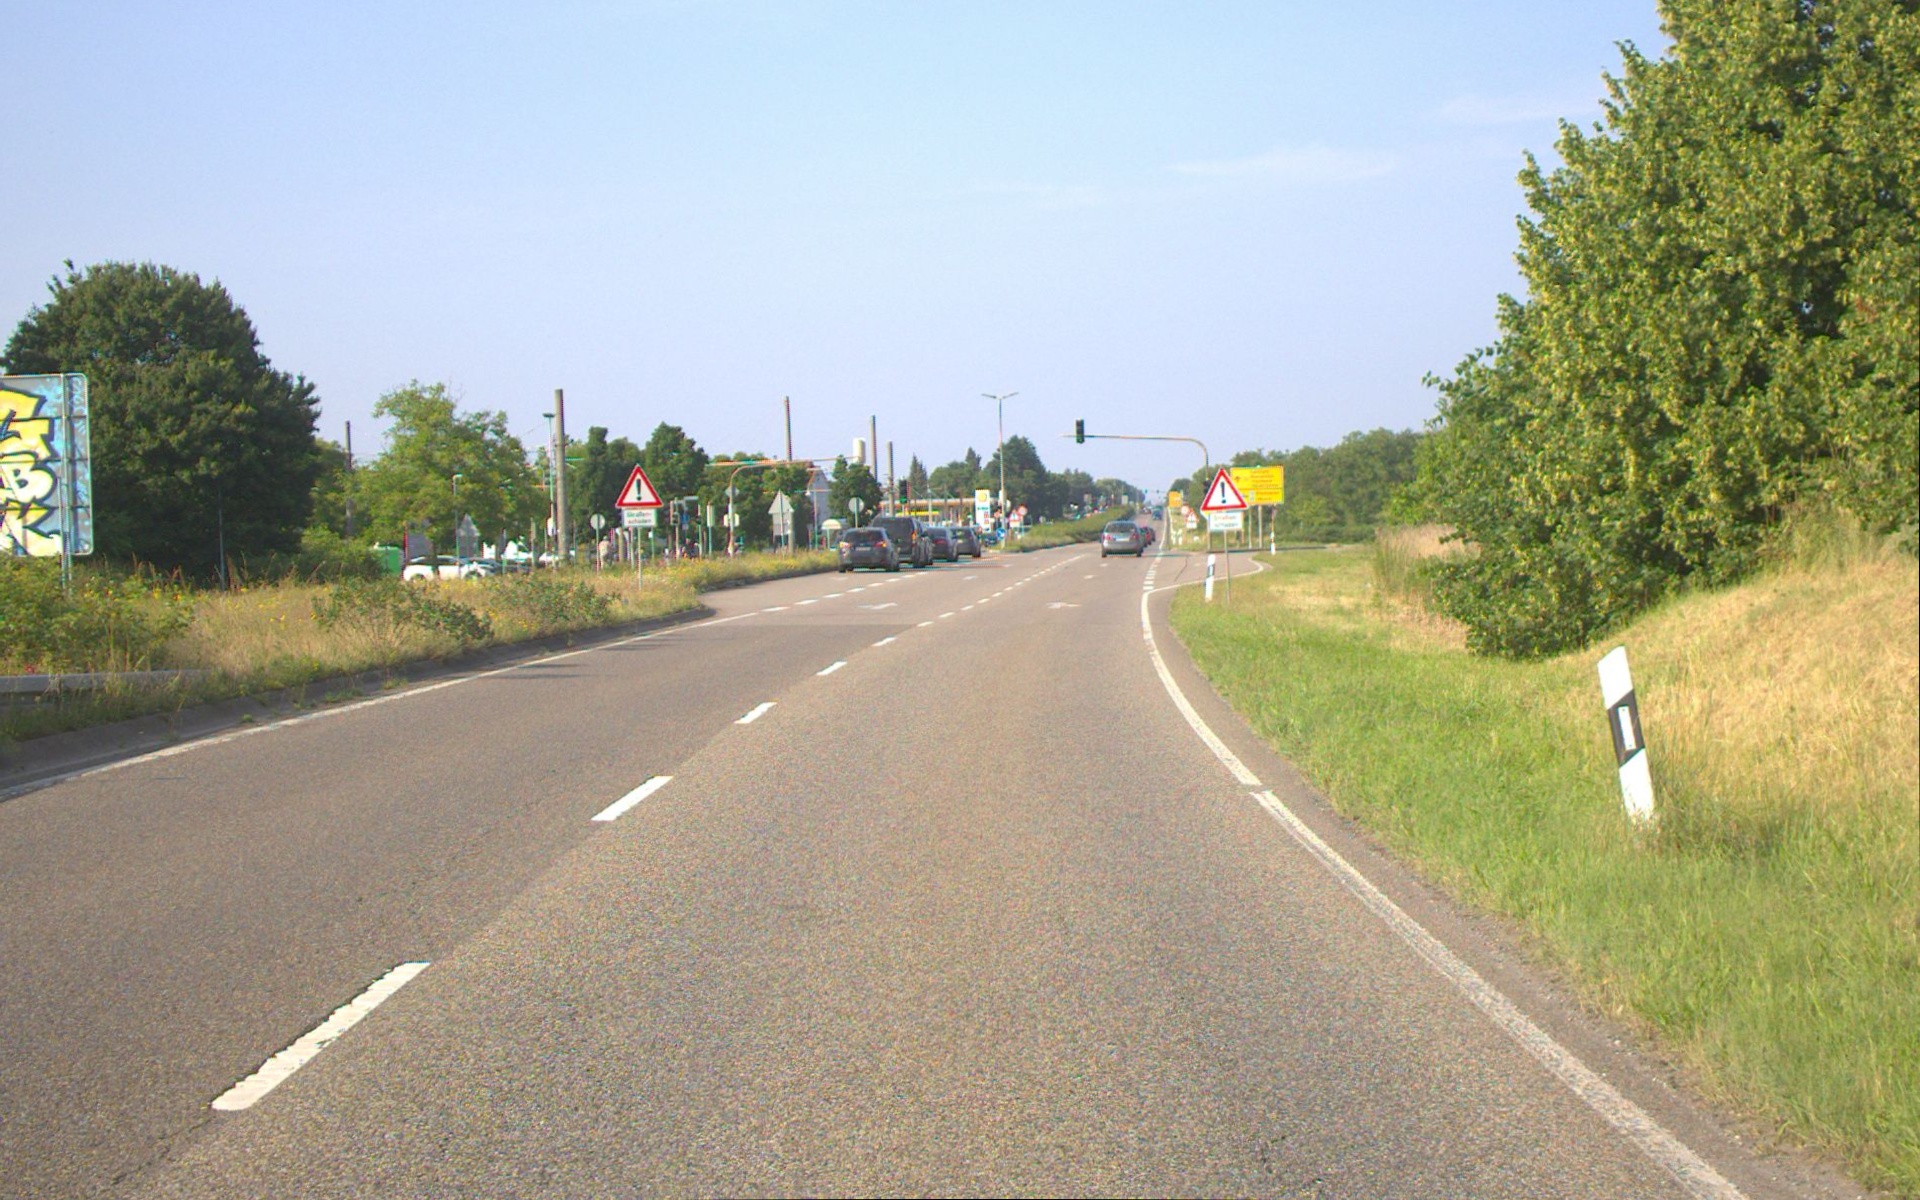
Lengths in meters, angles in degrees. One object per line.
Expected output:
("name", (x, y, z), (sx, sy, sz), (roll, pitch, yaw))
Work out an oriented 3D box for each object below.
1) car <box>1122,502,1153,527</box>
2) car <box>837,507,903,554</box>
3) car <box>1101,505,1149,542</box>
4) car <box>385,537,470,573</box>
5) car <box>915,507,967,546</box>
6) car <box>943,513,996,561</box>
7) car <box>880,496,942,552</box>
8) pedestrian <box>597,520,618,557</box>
("car", (11.798, -5.720, 228.740), (1.994, 1.590, 4.000), (-2, 2, 3))
("car", (-2.954, -2.305, 113.638), (1.732, 1.451, 4.520), (-1, 2, 4))
("car", (7.348, -3.402, 152.639), (1.994, 1.546, 4.000), (-1, 2, 4))
("car", (-25.470, -2.136, 164.358), (3.986, 1.656, 1.888), (0, 0, -10))
("car", (-0.754, -2.970, 138.569), (1.770, 1.466, 4.015), (-1, 2, 4))
("car", (0.442, -2.855, 156.203), (1.994, 2.007, 4.835), (-1, 0, 5))
("car", (-1.684, -2.678, 120.353), (1.732, 1.849, 4.520), (-1, 2, 4))
("pedestrian", (-16.337, -2.843, 159.397), (0.915, 1.700, 1.067), (0, 0, -2))
